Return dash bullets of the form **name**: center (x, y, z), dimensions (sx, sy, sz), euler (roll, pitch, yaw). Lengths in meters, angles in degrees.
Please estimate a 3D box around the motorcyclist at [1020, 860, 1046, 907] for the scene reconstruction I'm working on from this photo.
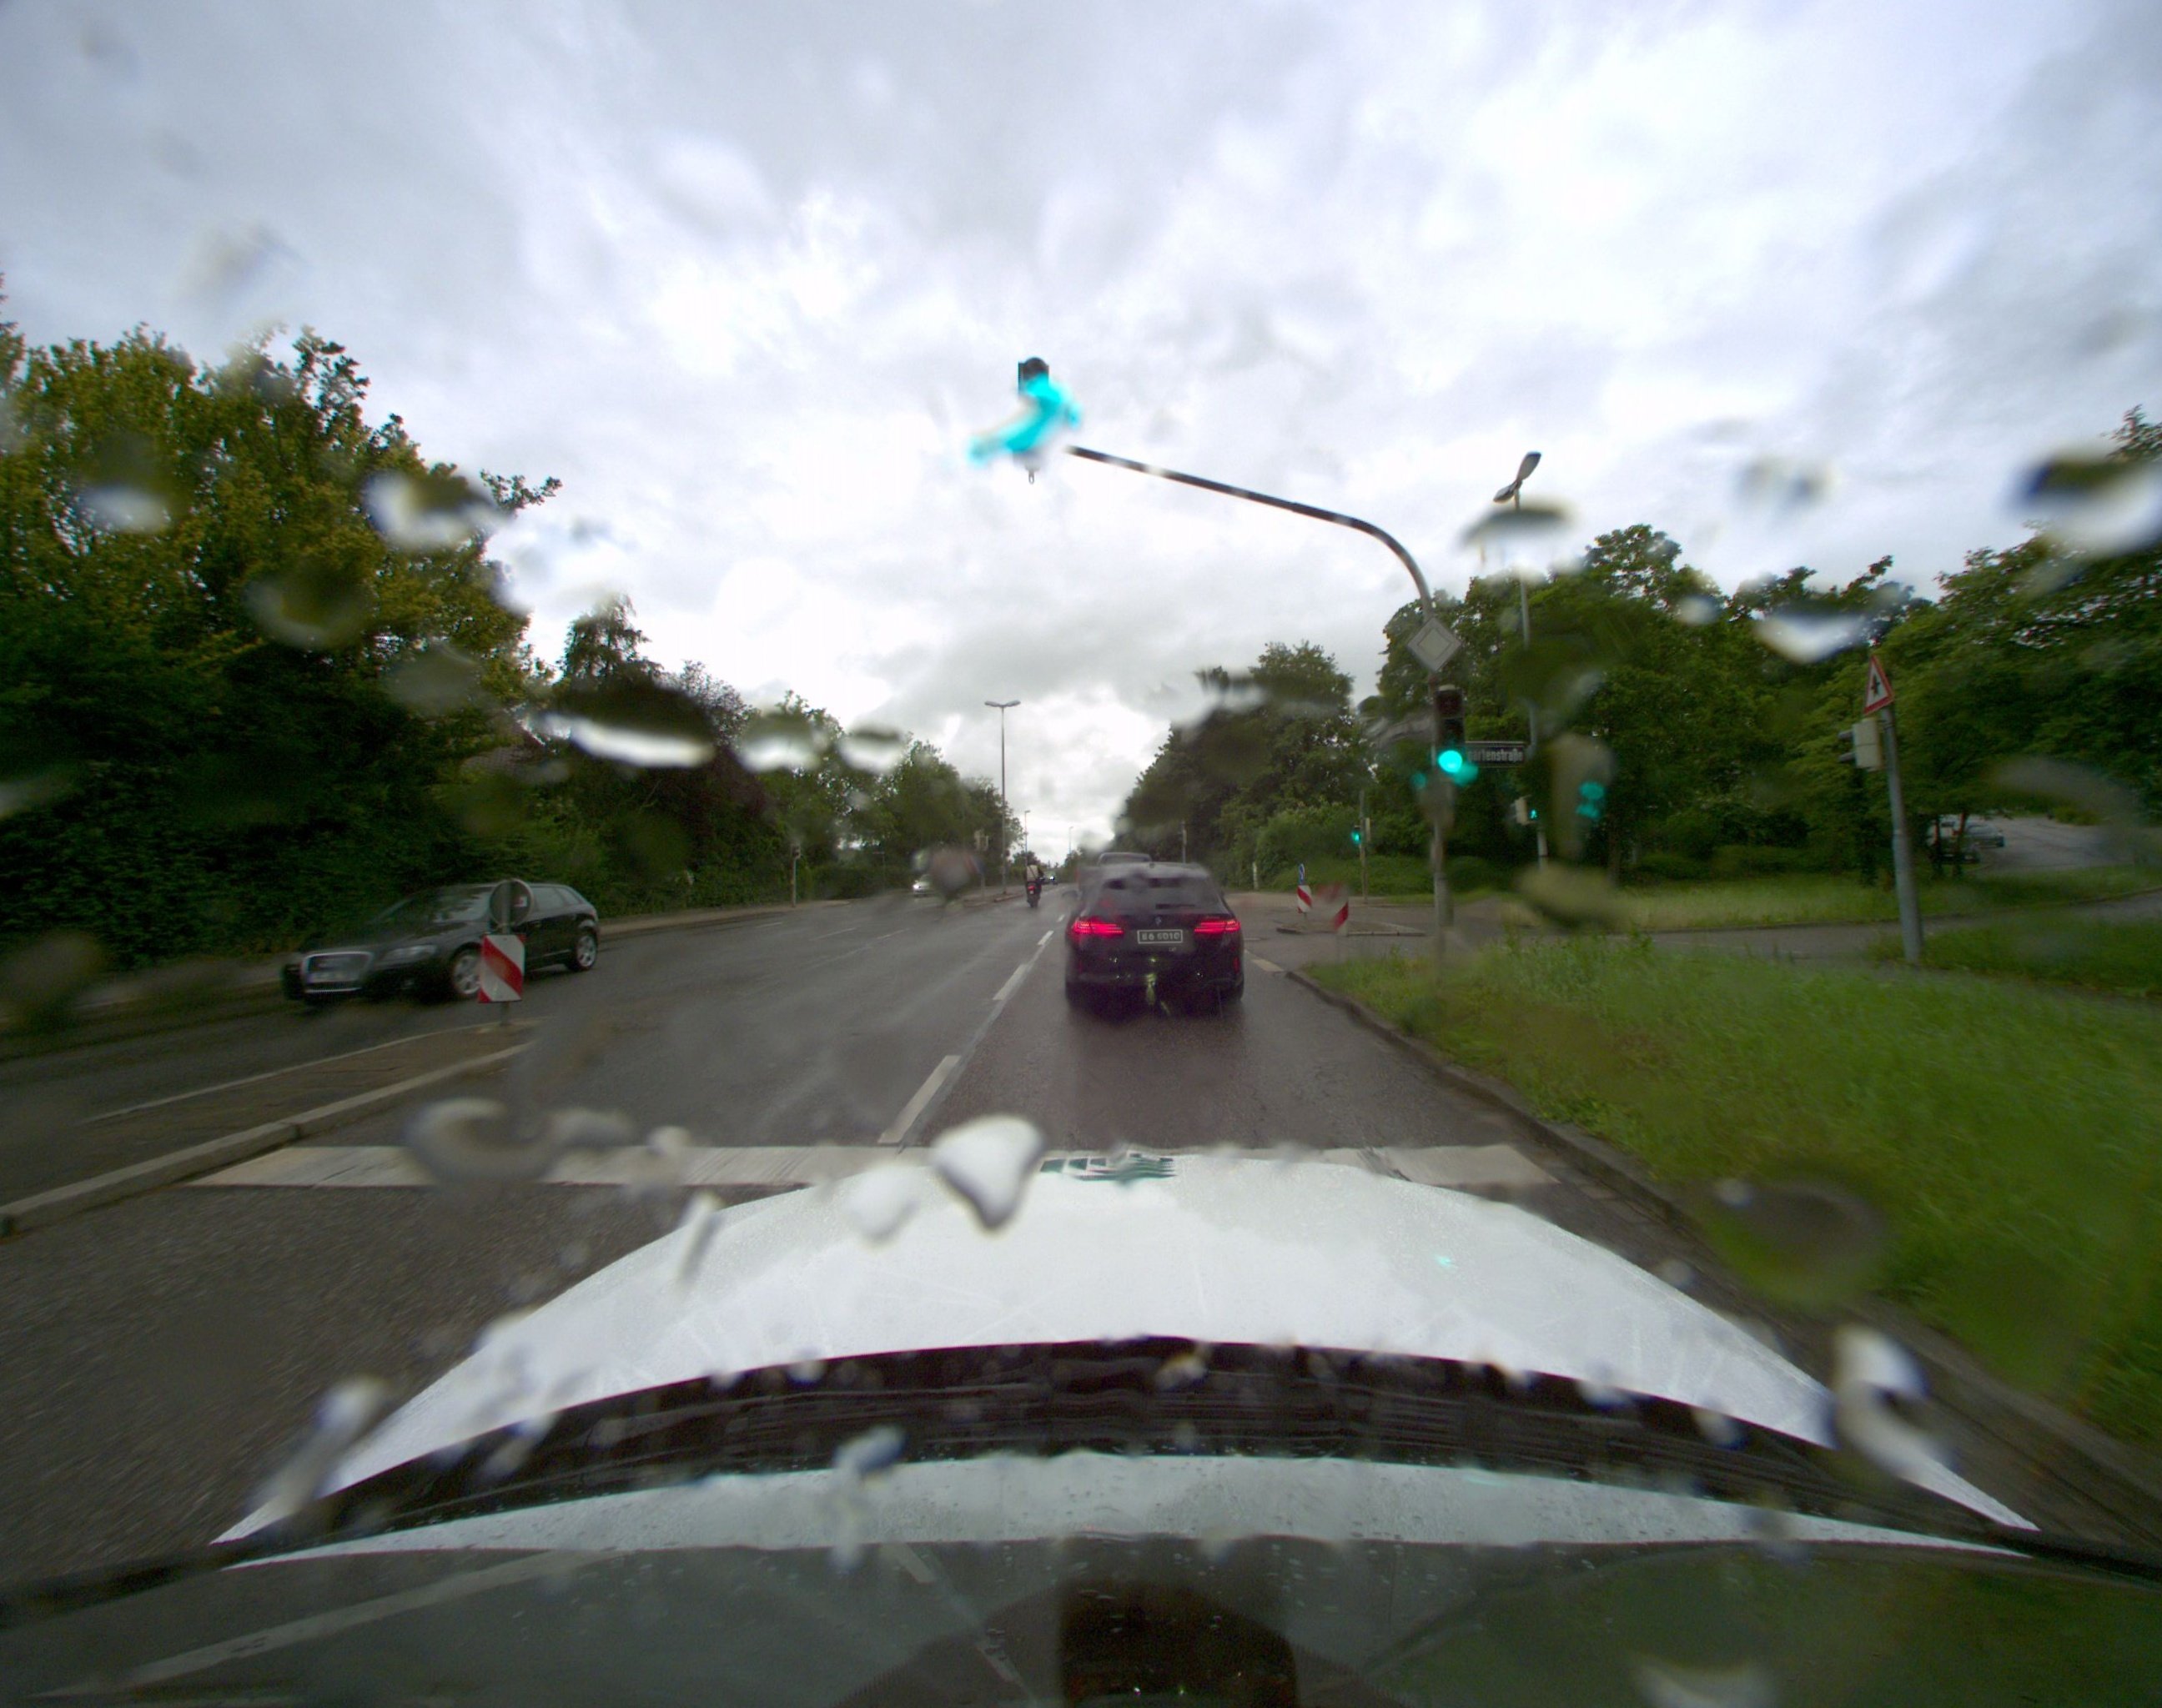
- **motorcyclist**: center (-1.716, 1.041, 29.235), dimensions (0.842, 1.647, 0.468), euler (-1, -1, 2)

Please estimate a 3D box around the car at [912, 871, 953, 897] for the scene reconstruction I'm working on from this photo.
- **car**: center (-9.558, 1.934, 52.739), dimensions (1.721, 1.485, 4.158), euler (-3, -1, 2)

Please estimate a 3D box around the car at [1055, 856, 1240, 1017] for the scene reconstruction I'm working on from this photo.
- **car**: center (0.720, 0.807, 9.644), dimensions (1.757, 1.536, 3.675), euler (0, -1, 3)

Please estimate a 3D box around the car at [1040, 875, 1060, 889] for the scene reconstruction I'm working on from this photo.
- **car**: center (-3.598, 3.234, 94.509), dimensions (2.018, 1.563, 3.878), euler (-3, -1, 1)

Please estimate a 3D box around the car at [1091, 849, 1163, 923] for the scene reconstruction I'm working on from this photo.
- **car**: center (1.219, 0.788, 22.085), dimensions (1.760, 1.810, 3.908), euler (0, 0, 3)

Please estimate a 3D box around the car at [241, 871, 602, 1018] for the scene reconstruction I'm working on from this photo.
- **car**: center (-8.425, 1.042, 10.947), dimensions (1.859, 1.492, 3.828), euler (-2, 0, -4)

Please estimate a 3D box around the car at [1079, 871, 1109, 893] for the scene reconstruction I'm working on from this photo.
- **car**: center (0.959, 1.988, 58.836), dimensions (2.007, 1.415, 4.489), euler (0, 0, 3)

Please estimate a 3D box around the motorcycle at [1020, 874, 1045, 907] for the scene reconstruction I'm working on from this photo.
- **motorcycle**: center (-1.730, 1.310, 29.229), dimensions (0.738, 1.119, 1.427), euler (0, 0, 3)

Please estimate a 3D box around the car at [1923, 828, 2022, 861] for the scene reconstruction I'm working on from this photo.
- **car**: center (46.916, -0.492, 42.861), dimensions (3.993, 1.571, 1.819), euler (-2, -1, -14)
